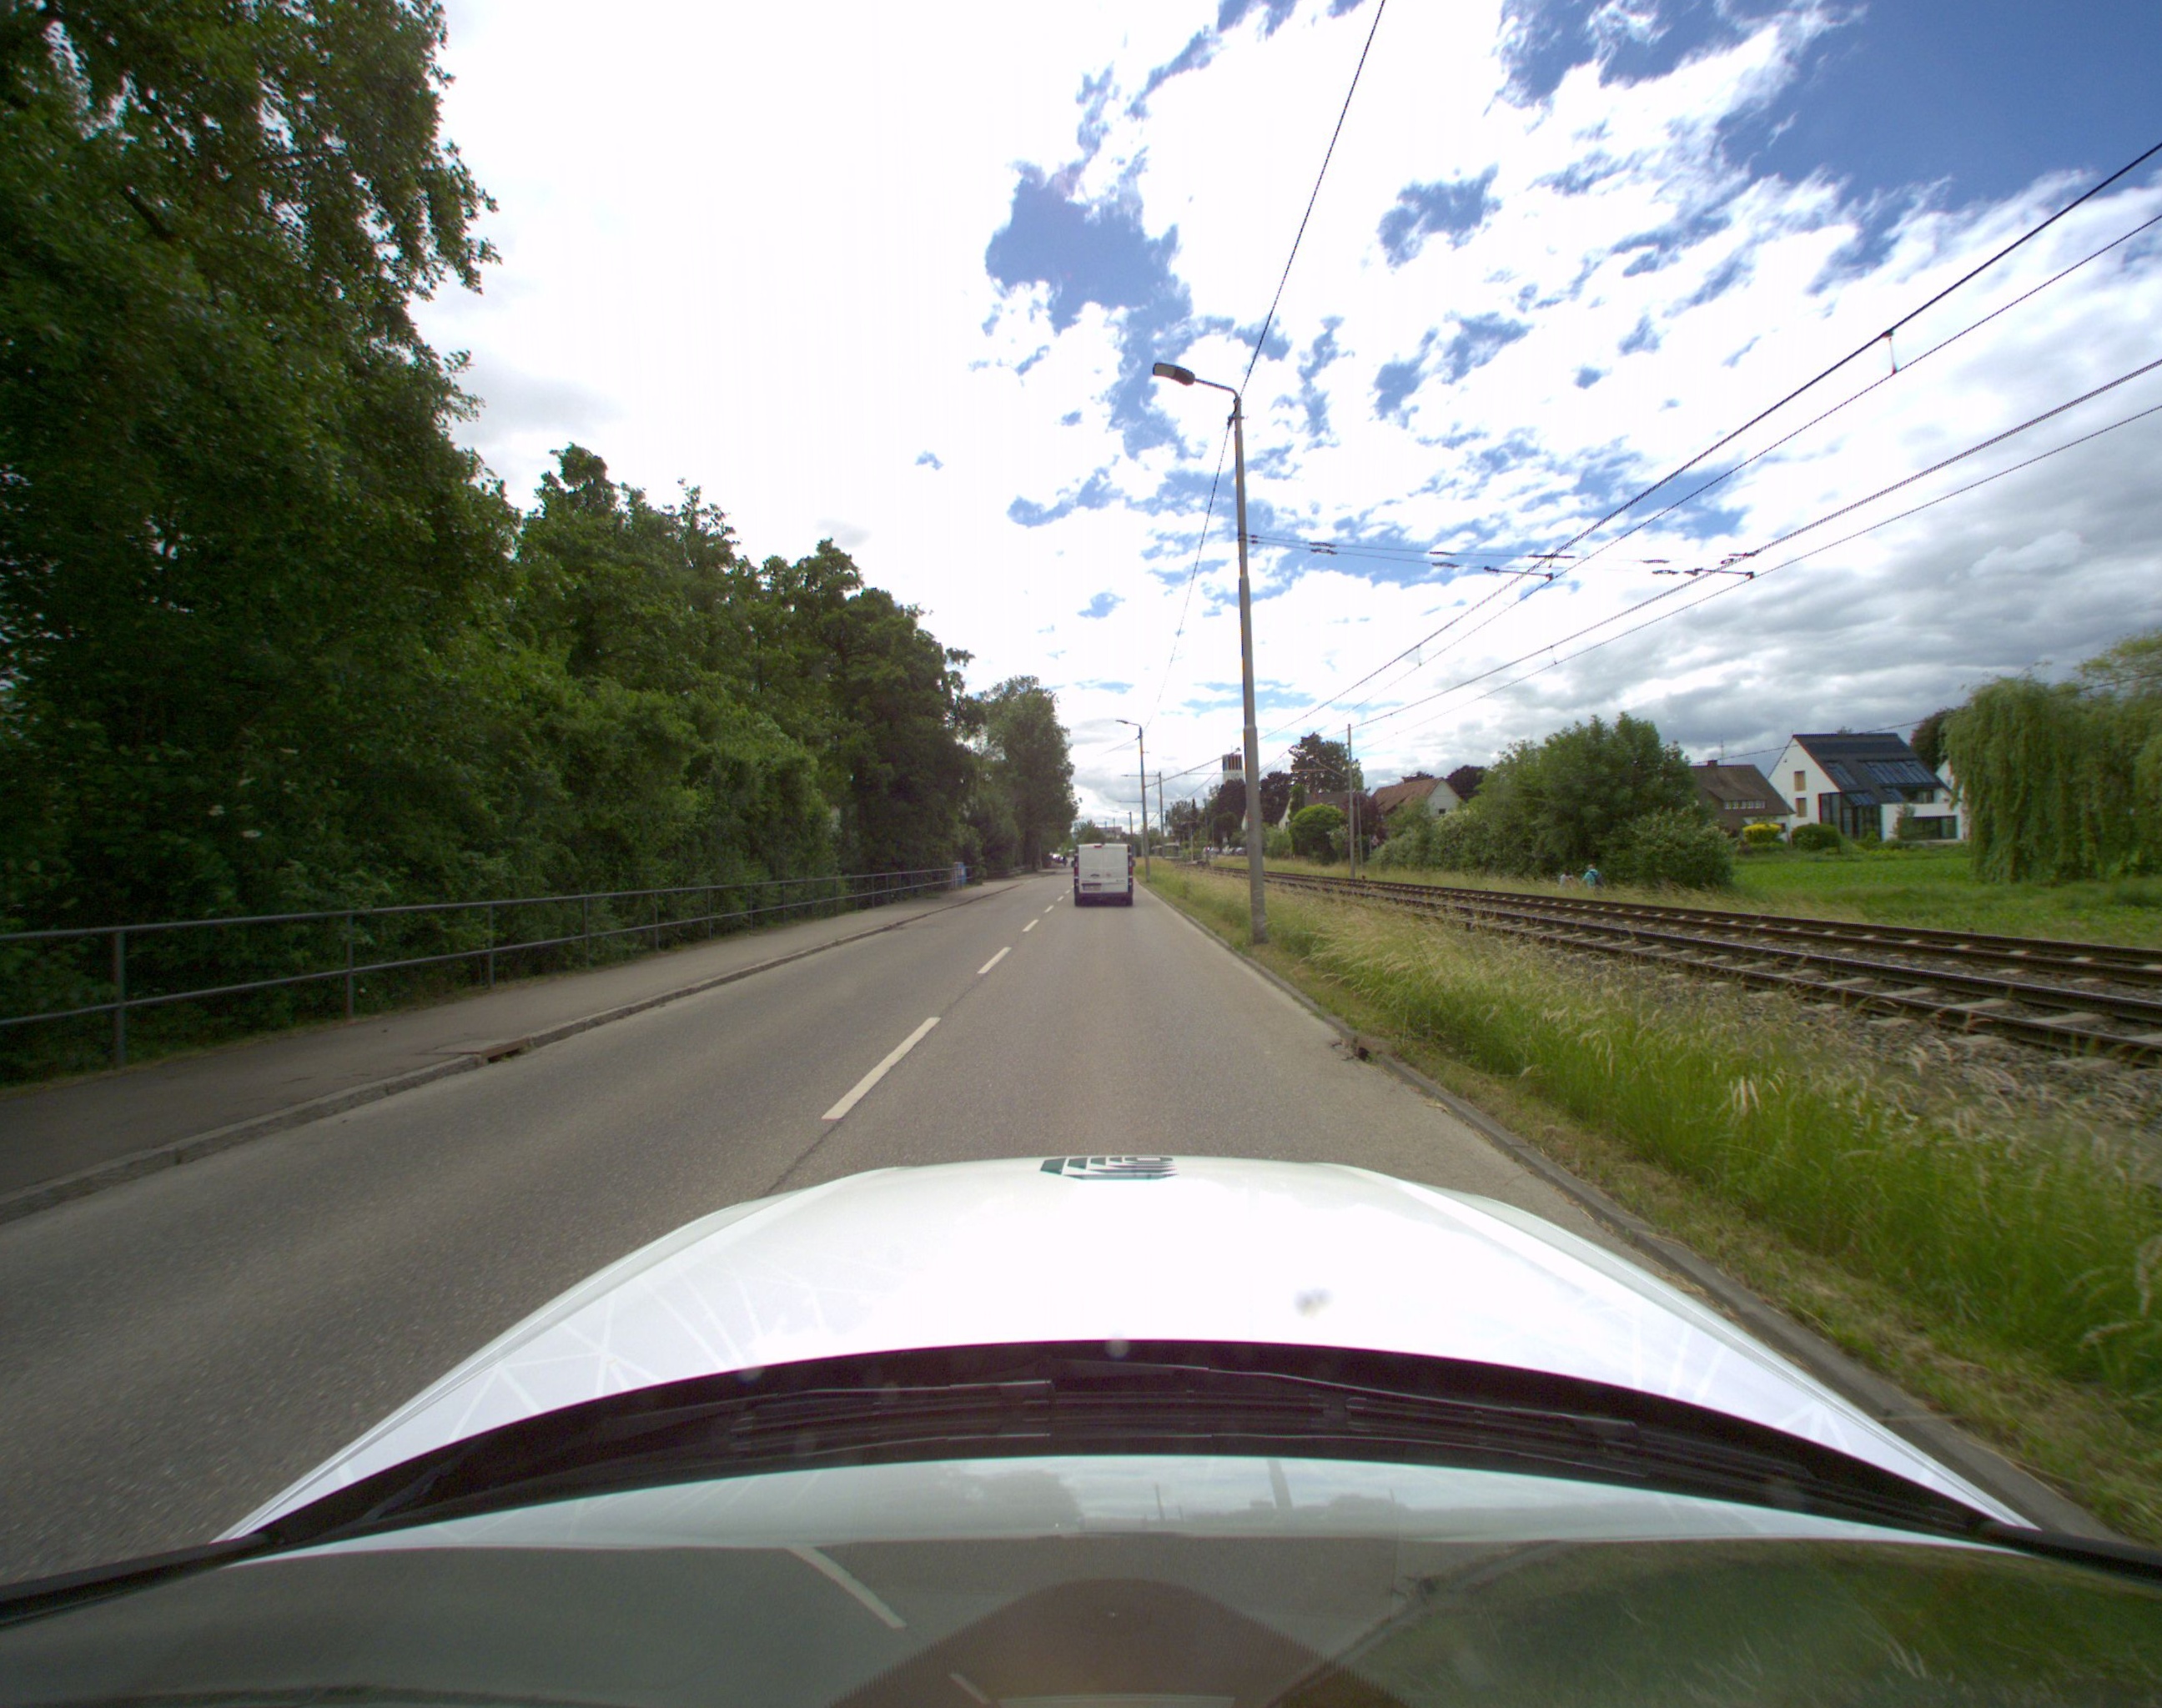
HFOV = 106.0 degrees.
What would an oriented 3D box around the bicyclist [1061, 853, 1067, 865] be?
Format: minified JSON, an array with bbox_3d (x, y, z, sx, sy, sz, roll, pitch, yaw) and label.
[{"bbox_3d":[-2.365,0.680,114.421,0.775,1.549,0.870,-3,0,1],"label":"bicyclist"}]

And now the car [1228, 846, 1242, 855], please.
[{"bbox_3d":[26.994,-0.615,142.962,1.876,1.522,4.002,-2,0,2],"label":"car"}]

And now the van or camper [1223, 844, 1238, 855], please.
[{"bbox_3d":[27.108,-0.776,147.564,1.898,1.826,5.050,-2,0,2],"label":"van or camper"}]

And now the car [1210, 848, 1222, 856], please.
[{"bbox_3d":[28.082,-0.468,169.573,1.876,1.522,4.002,-2,0,2],"label":"car"}]

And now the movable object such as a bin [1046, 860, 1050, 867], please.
[{"bbox_3d":[-4.553,1.331,112.811,0.512,0.945,0.568,-1,0,1],"label":"movable object such as a bin"}]

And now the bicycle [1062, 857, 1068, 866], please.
[{"bbox_3d":[-2.264,1.086,114.238,0.752,1.226,2.309,-4,0,1],"label":"bicycle"}]

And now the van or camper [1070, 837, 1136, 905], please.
[{"bbox_3d":[0.751,0.529,26.929,1.986,2.014,4.447,-1,0,2],"label":"van or camper"}]

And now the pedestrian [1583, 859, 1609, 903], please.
[{"bbox_3d":[19.421,1.016,30.698,0.614,1.622,0.584,0,0,1],"label":"pedestrian"}]

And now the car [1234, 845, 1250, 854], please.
[{"bbox_3d":[27.045,-0.721,136.926,1.876,1.522,4.002,-2,0,2],"label":"car"}]

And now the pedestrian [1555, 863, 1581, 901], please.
[{"bbox_3d":[18.447,1.050,30.846,0.595,1.430,0.667,0,0,6],"label":"pedestrian"}]

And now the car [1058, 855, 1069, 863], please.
[{"bbox_3d":[-3.489,0.932,159.670,1.734,1.504,4.470,-4,0,-5],"label":"car"}]
